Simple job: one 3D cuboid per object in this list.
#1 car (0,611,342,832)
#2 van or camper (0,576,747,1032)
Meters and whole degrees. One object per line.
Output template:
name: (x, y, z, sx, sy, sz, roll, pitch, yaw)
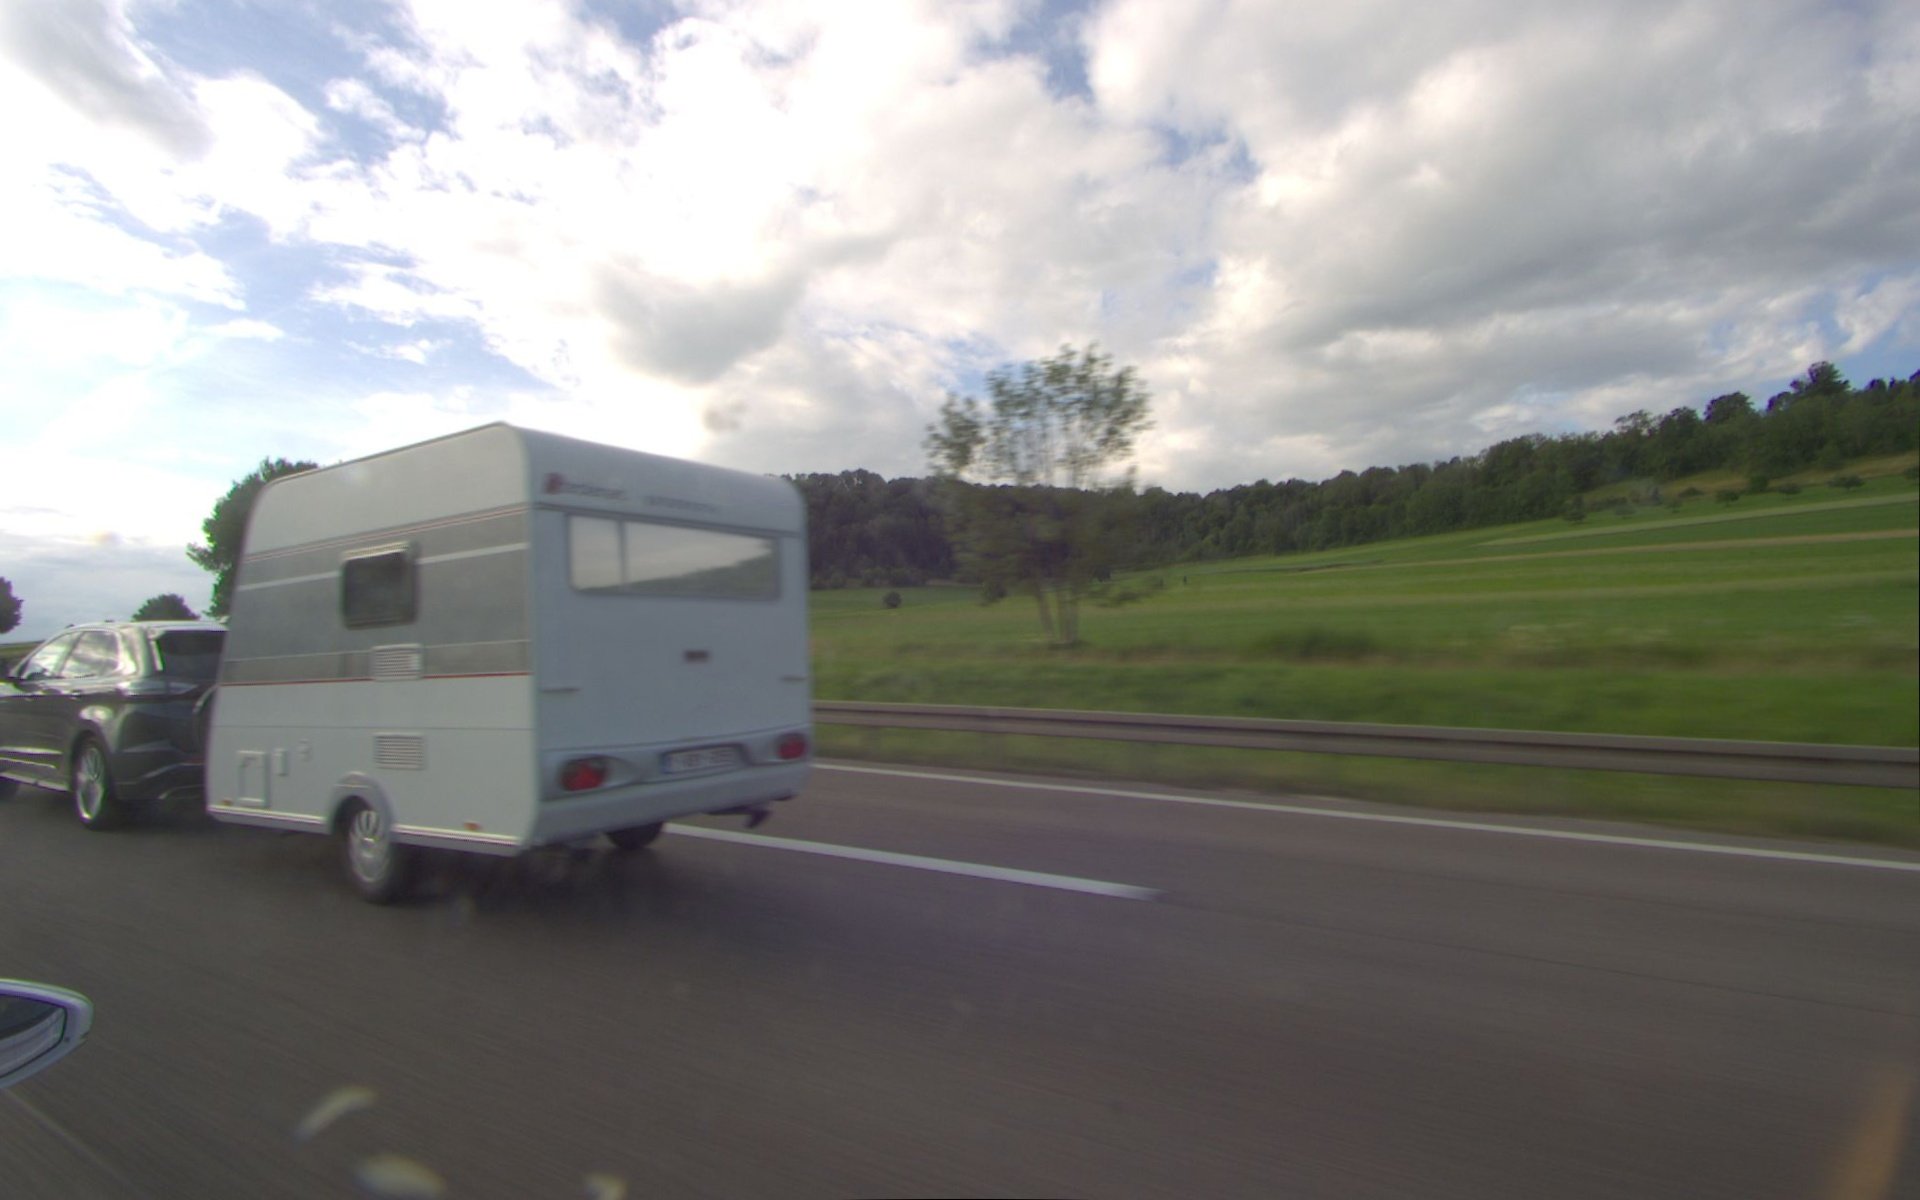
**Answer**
car: (-7.977, 0.987, 9.539, 4.417, 1.673, 1.784, -1, -2, 32)
van or camper: (-4.443, 1.184, 7.451, 5.251, 2.266, 2.547, -2, -4, 30)
